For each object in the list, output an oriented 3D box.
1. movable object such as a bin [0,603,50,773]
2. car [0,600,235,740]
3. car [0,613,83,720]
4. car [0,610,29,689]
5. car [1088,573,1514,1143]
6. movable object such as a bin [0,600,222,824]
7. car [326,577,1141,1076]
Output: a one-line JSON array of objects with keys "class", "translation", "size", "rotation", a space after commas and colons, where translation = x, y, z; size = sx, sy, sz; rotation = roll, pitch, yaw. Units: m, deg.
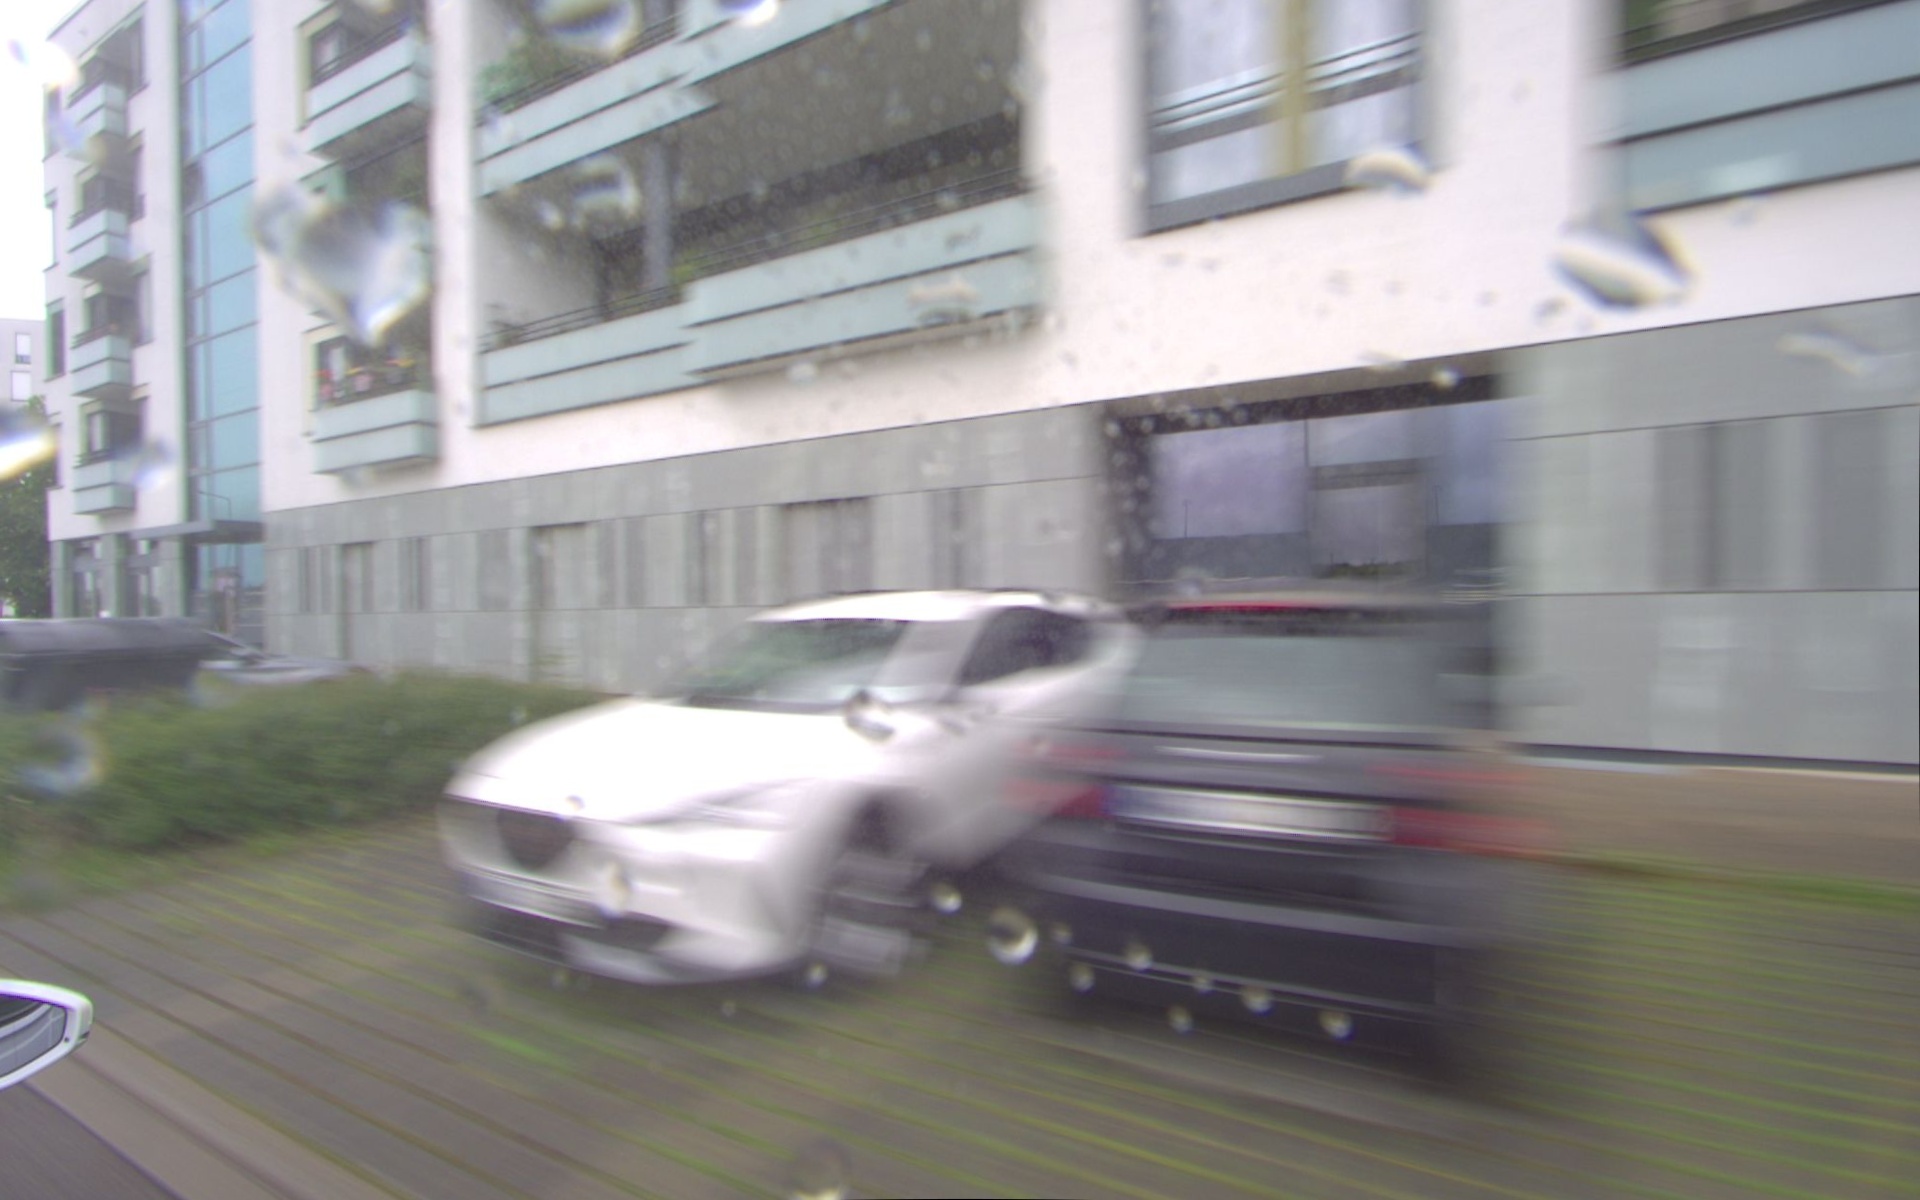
[{"class": "movable object such as a bin", "translation": [-9.648, 0.826, 9.357], "size": [1.559, 1.547, 1.297], "rotation": [0, 2, 33]}, {"class": "car", "translation": [-11.429, 0.804, 11.933], "size": [2.029, 1.517, 4.050], "rotation": [0, 1, 33]}, {"class": "car", "translation": [-15.048, 0.987, 13.874], "size": [1.851, 1.499, 3.979], "rotation": [0, 1, 31]}, {"class": "car", "translation": [-19.347, 0.975, 17.309], "size": [1.883, 1.424, 4.399], "rotation": [-1, 1, 32]}, {"class": "car", "translation": [1.524, 0.673, 4.130], "size": [1.188, 1.527, 2.621], "rotation": [0, 2, 26]}, {"class": "movable object such as a bin", "translation": [-7.008, 0.793, 7.986], "size": [1.559, 1.547, 1.297], "rotation": [0, 2, 33]}, {"class": "car", "translation": [-0.690, 0.691, 5.527], "size": [1.866, 1.551, 4.336], "rotation": [0, 2, 32]}]
